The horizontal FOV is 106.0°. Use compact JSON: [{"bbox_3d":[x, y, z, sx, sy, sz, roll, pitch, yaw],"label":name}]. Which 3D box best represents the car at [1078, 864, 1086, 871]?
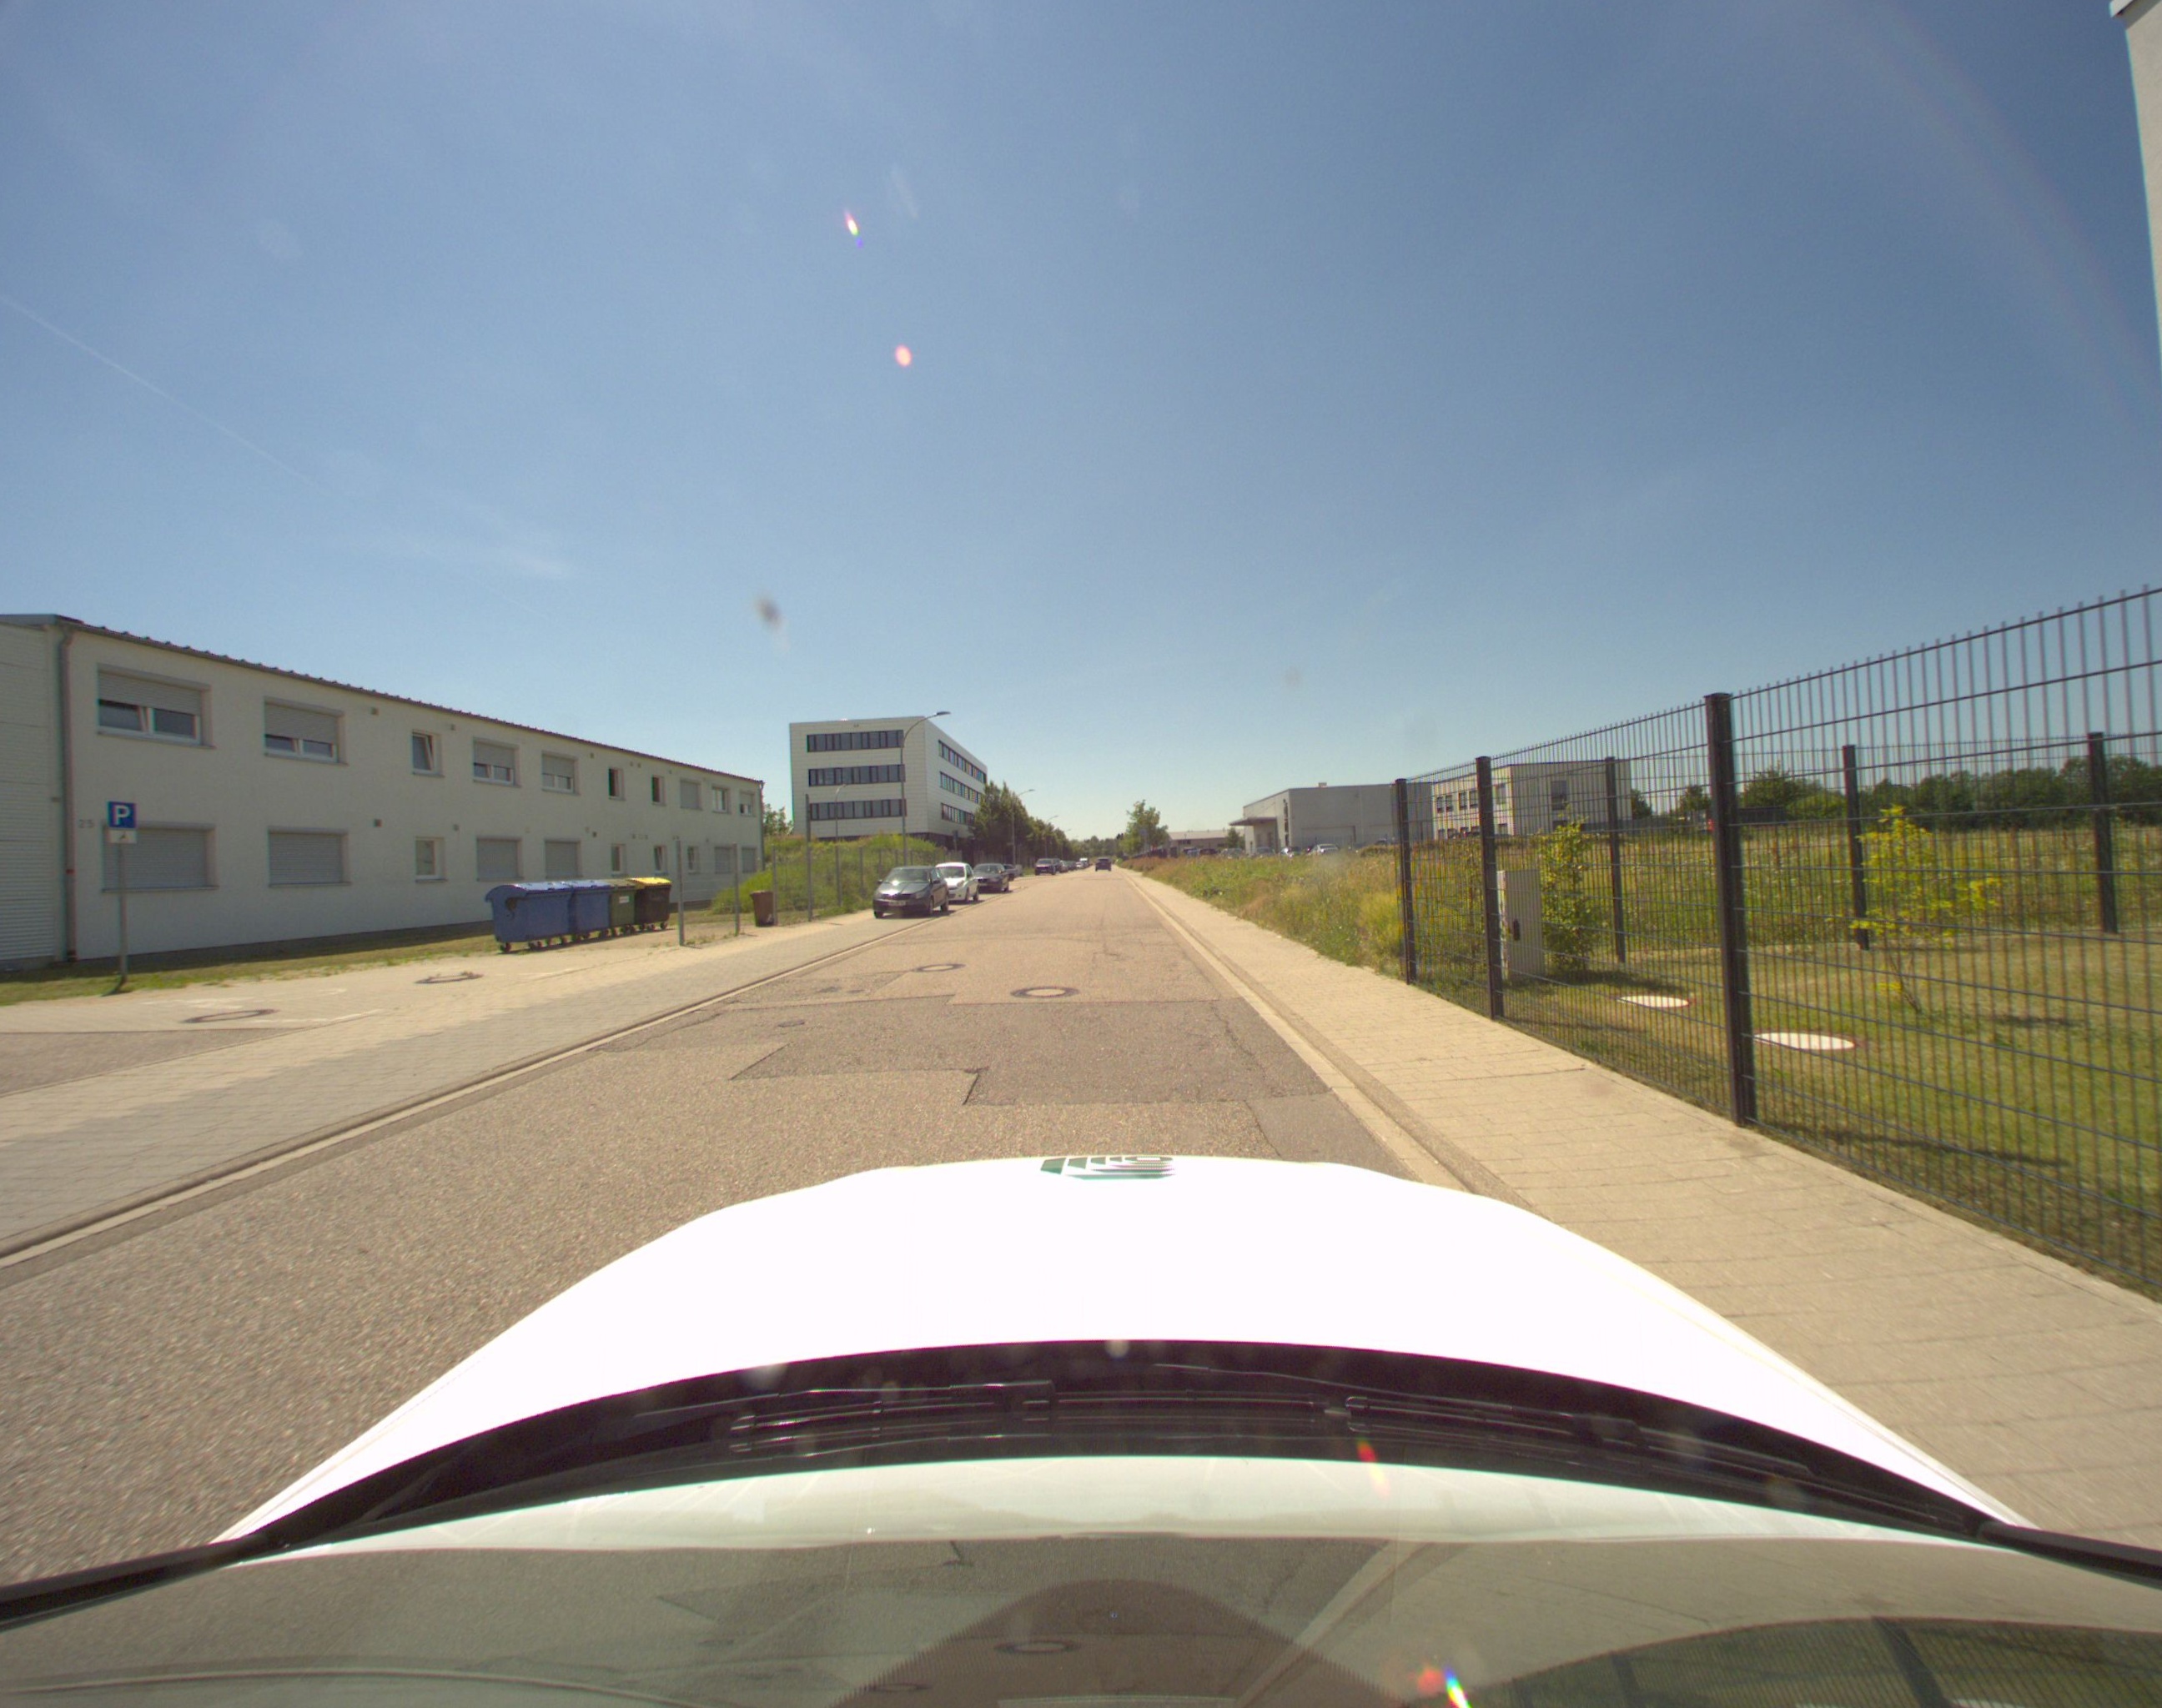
[{"bbox_3d":[0.220,2.869,176.529,1.715,1.476,3.856,-2,-1,-1],"label":"car"}]

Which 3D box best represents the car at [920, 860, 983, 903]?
[{"bbox_3d":[-4.898,1.018,31.287,1.668,1.530,3.758,-1,-1,1],"label":"car"}]

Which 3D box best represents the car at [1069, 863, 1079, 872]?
[{"bbox_3d":[-1.226,2.374,144.995,1.765,1.611,4.247,-2,-1,0],"label":"car"}]

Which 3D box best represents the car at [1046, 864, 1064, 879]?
[{"bbox_3d":[-2.929,1.951,93.111,1.764,1.624,4.583,-1,-1,2],"label":"car"}]

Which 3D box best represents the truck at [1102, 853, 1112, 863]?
[{"bbox_3d":[8.093,1.276,250.220,2.921,2.974,6.422,0,-1,2],"label":"truck"}]

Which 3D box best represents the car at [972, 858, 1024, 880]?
[{"bbox_3d":[-6.605,1.193,65.115,1.753,1.588,4.102,-3,-1,40],"label":"car"}]

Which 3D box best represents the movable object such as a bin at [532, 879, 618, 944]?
[{"bbox_3d":[-12.065,1.348,19.480,1.119,1.448,1.373,-2,-1,4],"label":"movable object such as a bin"}]

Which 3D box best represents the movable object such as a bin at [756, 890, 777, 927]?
[{"bbox_3d":[-8.274,1.417,21.403,0.303,0.940,0.497,-2,-1,4],"label":"movable object such as a bin"}]

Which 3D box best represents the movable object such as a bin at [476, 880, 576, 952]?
[{"bbox_3d":[-12.141,1.336,17.877,1.138,1.448,1.435,-2,-1,4],"label":"movable object such as a bin"}]

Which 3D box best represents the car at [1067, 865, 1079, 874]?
[{"bbox_3d":[-1.265,2.447,127.645,1.764,1.431,4.202,-1,-1,2],"label":"car"}]

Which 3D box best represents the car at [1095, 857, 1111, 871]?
[{"bbox_3d":[2.599,1.177,94.683,1.783,1.623,3.810,0,-1,1],"label":"car"}]

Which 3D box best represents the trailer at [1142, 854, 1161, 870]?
[{"bbox_3d":[11.539,1.314,134.138,2.816,2.403,1.418,-4,-1,-3],"label":"trailer"}]

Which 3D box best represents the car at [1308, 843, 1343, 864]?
[{"bbox_3d":[18.225,0.000,60.804,1.509,1.397,3.540,-3,-1,0],"label":"car"}]

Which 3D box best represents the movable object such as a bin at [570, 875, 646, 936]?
[{"bbox_3d":[-12.119,1.301,20.925,1.084,1.448,1.389,-2,-1,0],"label":"movable object such as a bin"}]

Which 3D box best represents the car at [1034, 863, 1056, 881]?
[{"bbox_3d":[-3.452,1.749,79.768,1.764,1.588,4.482,-2,-1,1],"label":"car"}]

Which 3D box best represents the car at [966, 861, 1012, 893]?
[{"bbox_3d":[-4.489,1.111,40.180,1.668,1.450,4.070,-1,-1,2],"label":"car"}]

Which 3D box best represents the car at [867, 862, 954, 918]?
[{"bbox_3d":[-5.081,1.030,24.721,1.668,1.530,3.910,-1,-1,1],"label":"car"}]

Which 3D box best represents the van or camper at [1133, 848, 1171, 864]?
[{"bbox_3d":[13.126,0.302,150.385,6.734,2.585,2.636,-3,-1,0],"label":"van or camper"}]

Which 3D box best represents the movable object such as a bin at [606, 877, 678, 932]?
[{"bbox_3d":[-12.016,1.361,22.365,1.137,1.405,1.389,-2,-1,4],"label":"movable object such as a bin"}]

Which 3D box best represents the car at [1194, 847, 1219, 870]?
[{"bbox_3d":[9.249,0.339,60.262,1.461,1.574,2.662,-3,-1,1],"label":"car"}]
